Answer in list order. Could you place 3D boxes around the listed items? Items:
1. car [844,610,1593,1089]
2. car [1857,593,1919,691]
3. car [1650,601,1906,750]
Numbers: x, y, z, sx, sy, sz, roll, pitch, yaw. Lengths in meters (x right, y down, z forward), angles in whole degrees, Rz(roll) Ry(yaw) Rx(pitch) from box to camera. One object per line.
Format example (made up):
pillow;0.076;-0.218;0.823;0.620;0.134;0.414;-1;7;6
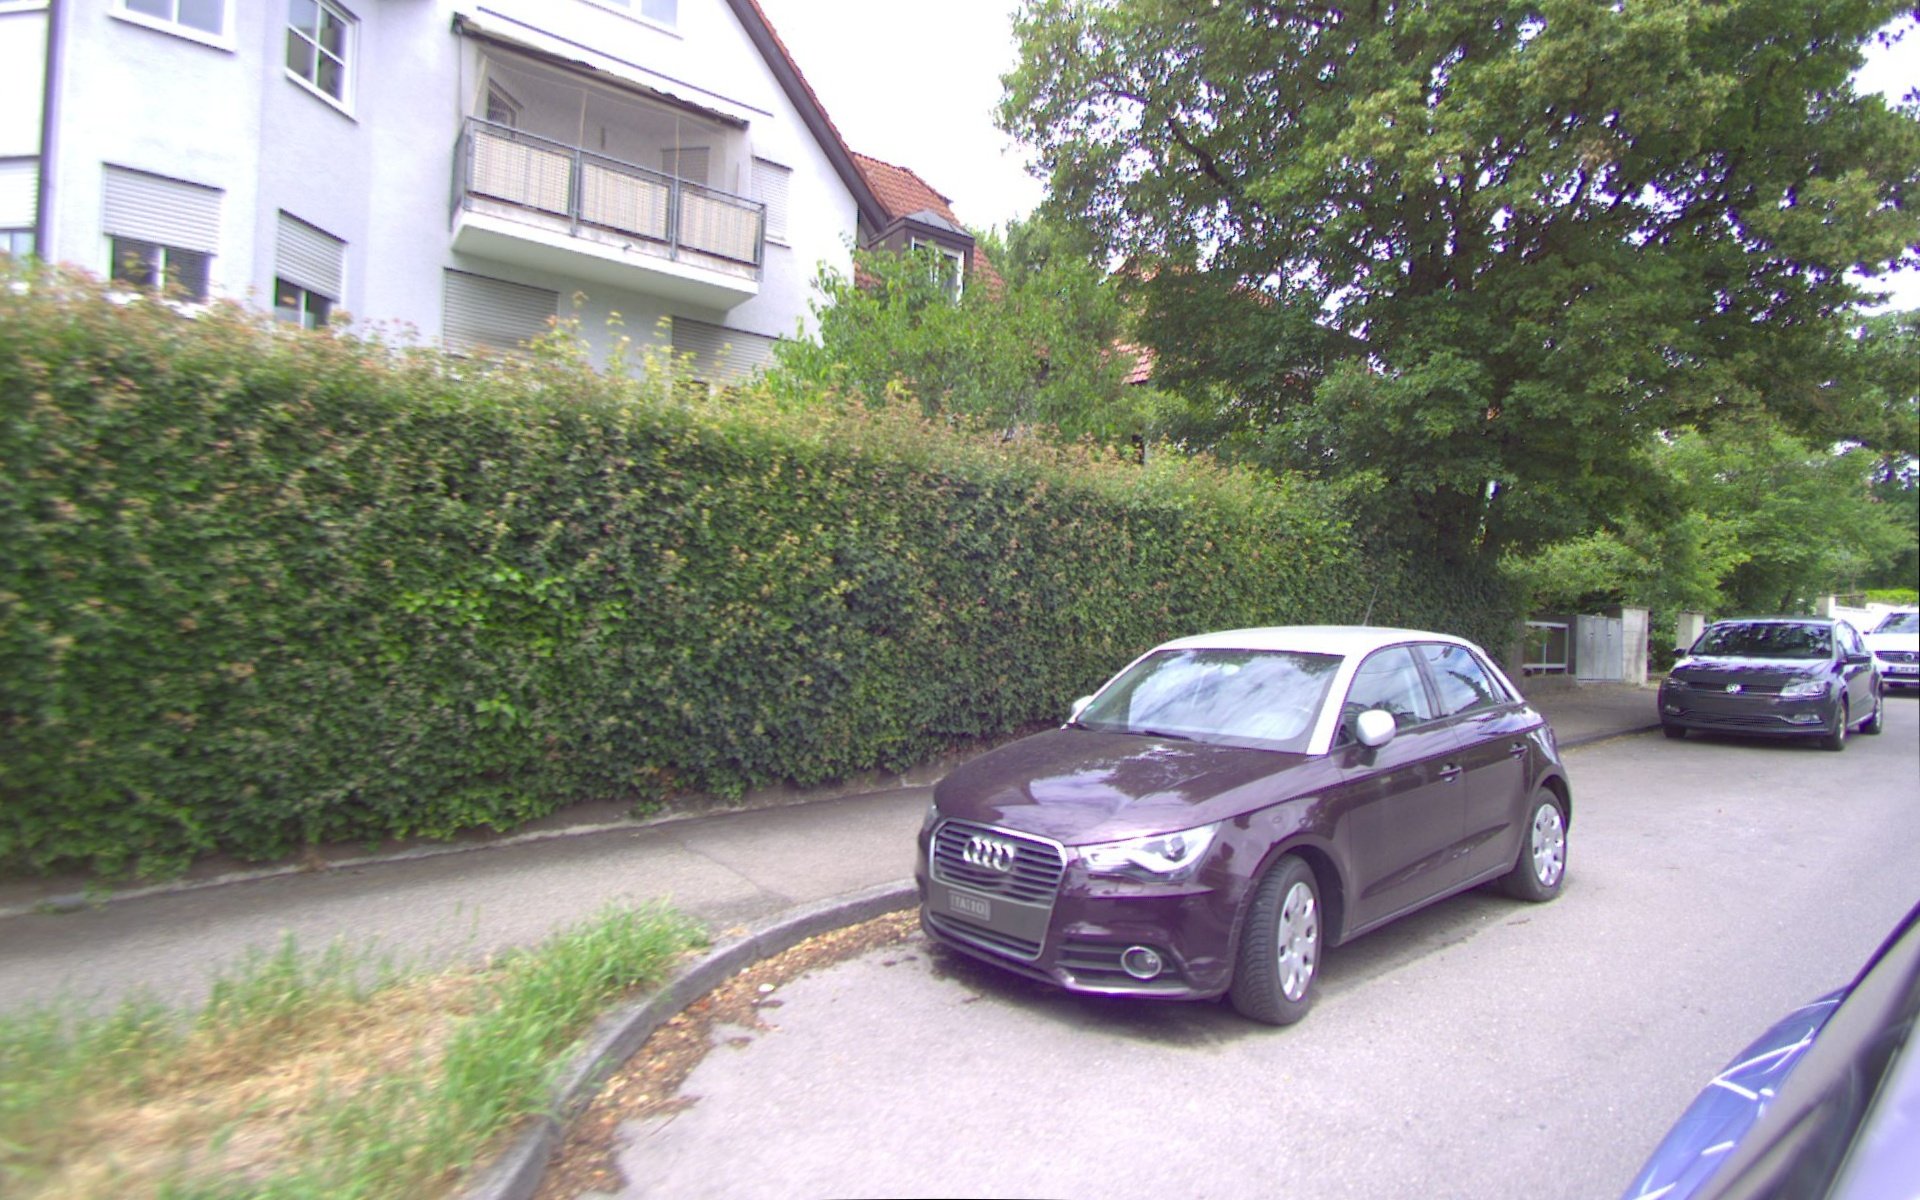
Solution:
car;1.459;0.766;4.922;3.723;1.430;1.712;0;-1;-41
car;18.455;0.746;18.821;4.269;1.706;1.870;0;0;-37
car;9.889;0.779;12.152;3.723;1.506;1.713;0;0;-40
